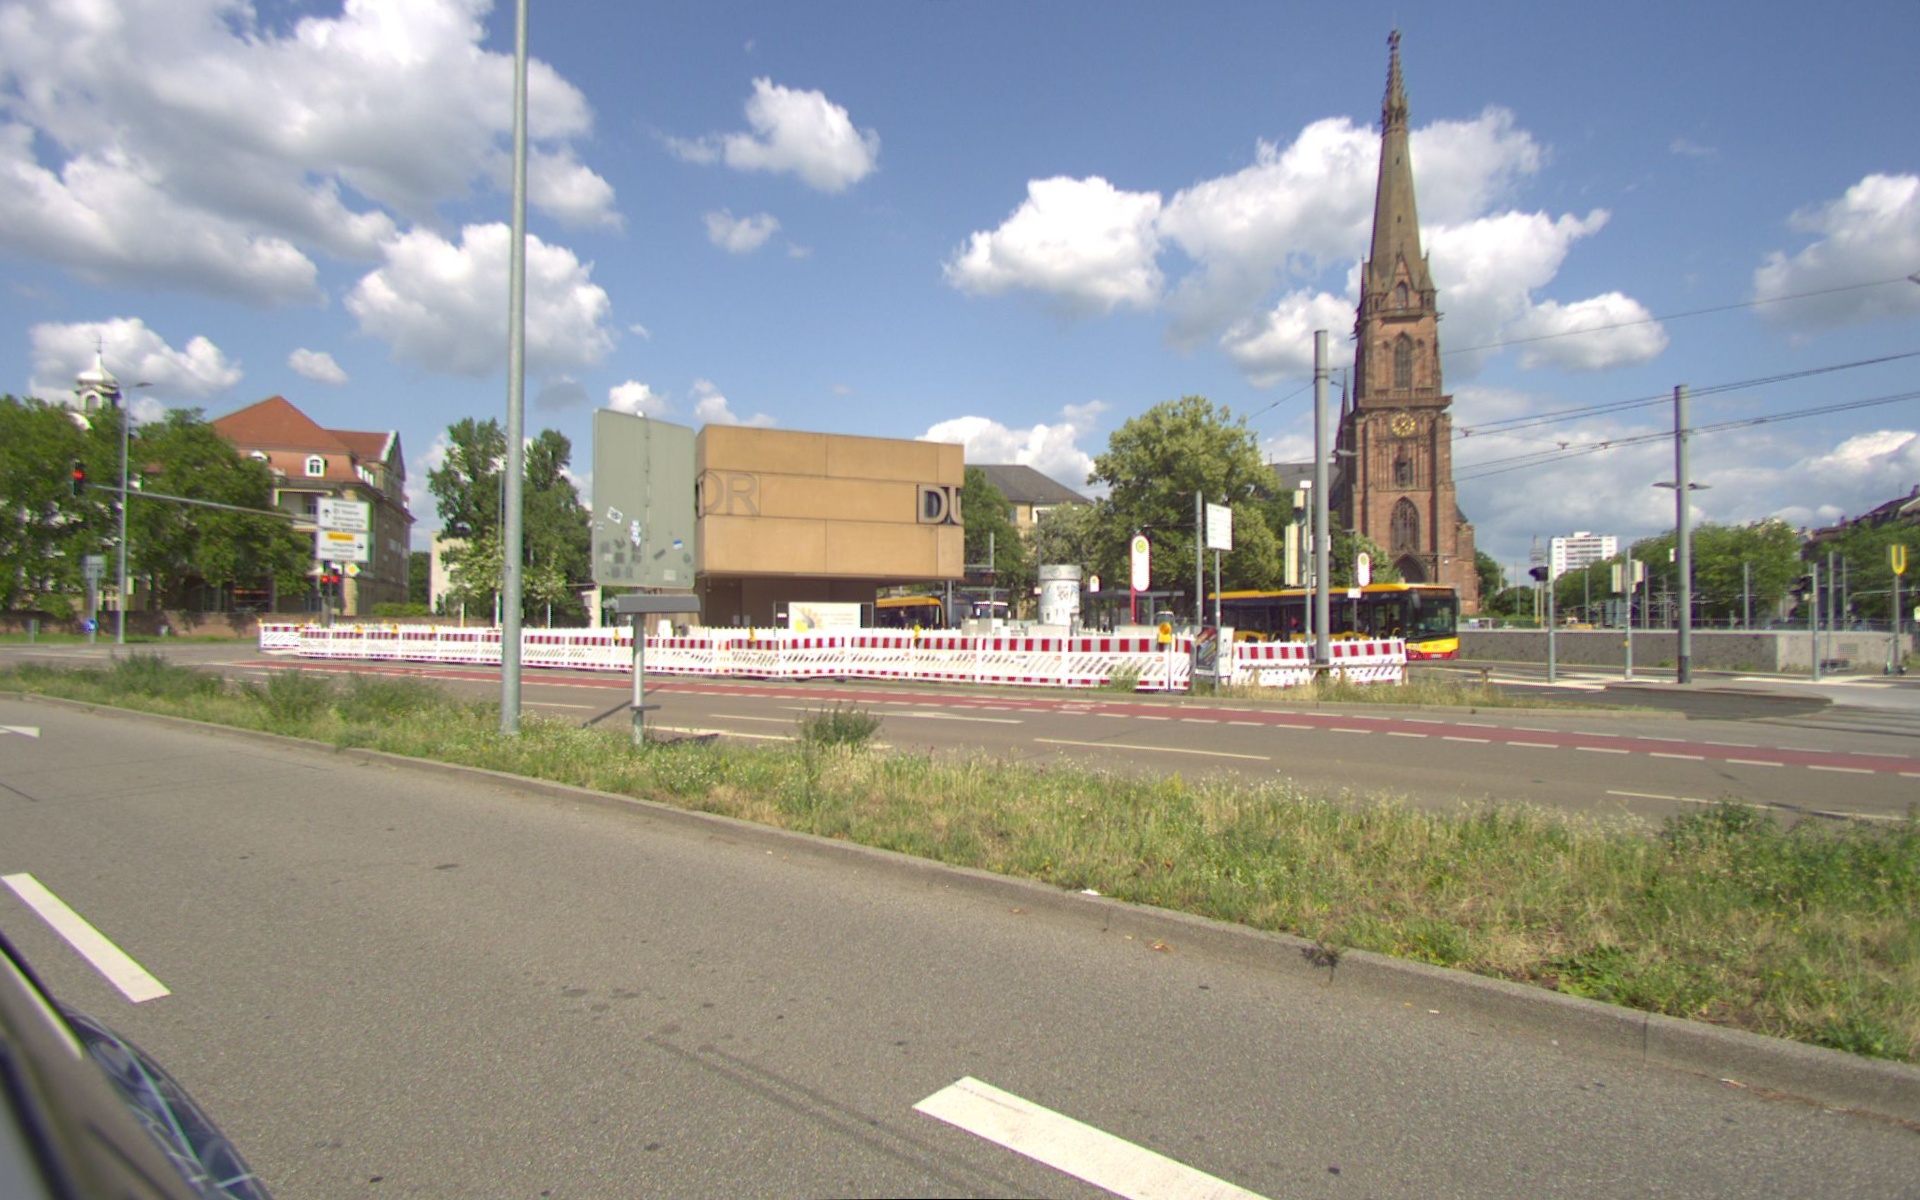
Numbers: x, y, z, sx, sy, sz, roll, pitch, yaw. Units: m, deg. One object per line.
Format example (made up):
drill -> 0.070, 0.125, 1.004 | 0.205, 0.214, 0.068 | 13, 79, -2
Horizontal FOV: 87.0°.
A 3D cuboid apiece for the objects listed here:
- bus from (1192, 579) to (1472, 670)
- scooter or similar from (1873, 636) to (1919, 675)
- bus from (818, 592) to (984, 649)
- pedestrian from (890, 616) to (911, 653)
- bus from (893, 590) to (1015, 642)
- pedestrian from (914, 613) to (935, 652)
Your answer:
bus -> 14.507, 1.020, 41.521 | 2.785, 3.160, 12.882 | 1, -2, -22
scooter or similar -> 29.552, 1.722, 31.599 | 1.617, 1.114, 0.855 | -1, 0, -19
bus -> -4.833, 1.479, 68.445 | 3.416, 3.208, 23.856 | 1, -2, -23
pedestrian -> -2.695, 1.572, 45.934 | 0.762, 1.644, 0.647 | 0, -1, 26
bus -> -0.966, 1.318, 80.561 | 3.546, 3.659, 18.931 | 1, -1, -20
pedestrian -> -1.477, 1.355, 42.448 | 0.720, 1.642, 0.561 | 1, -1, -26
